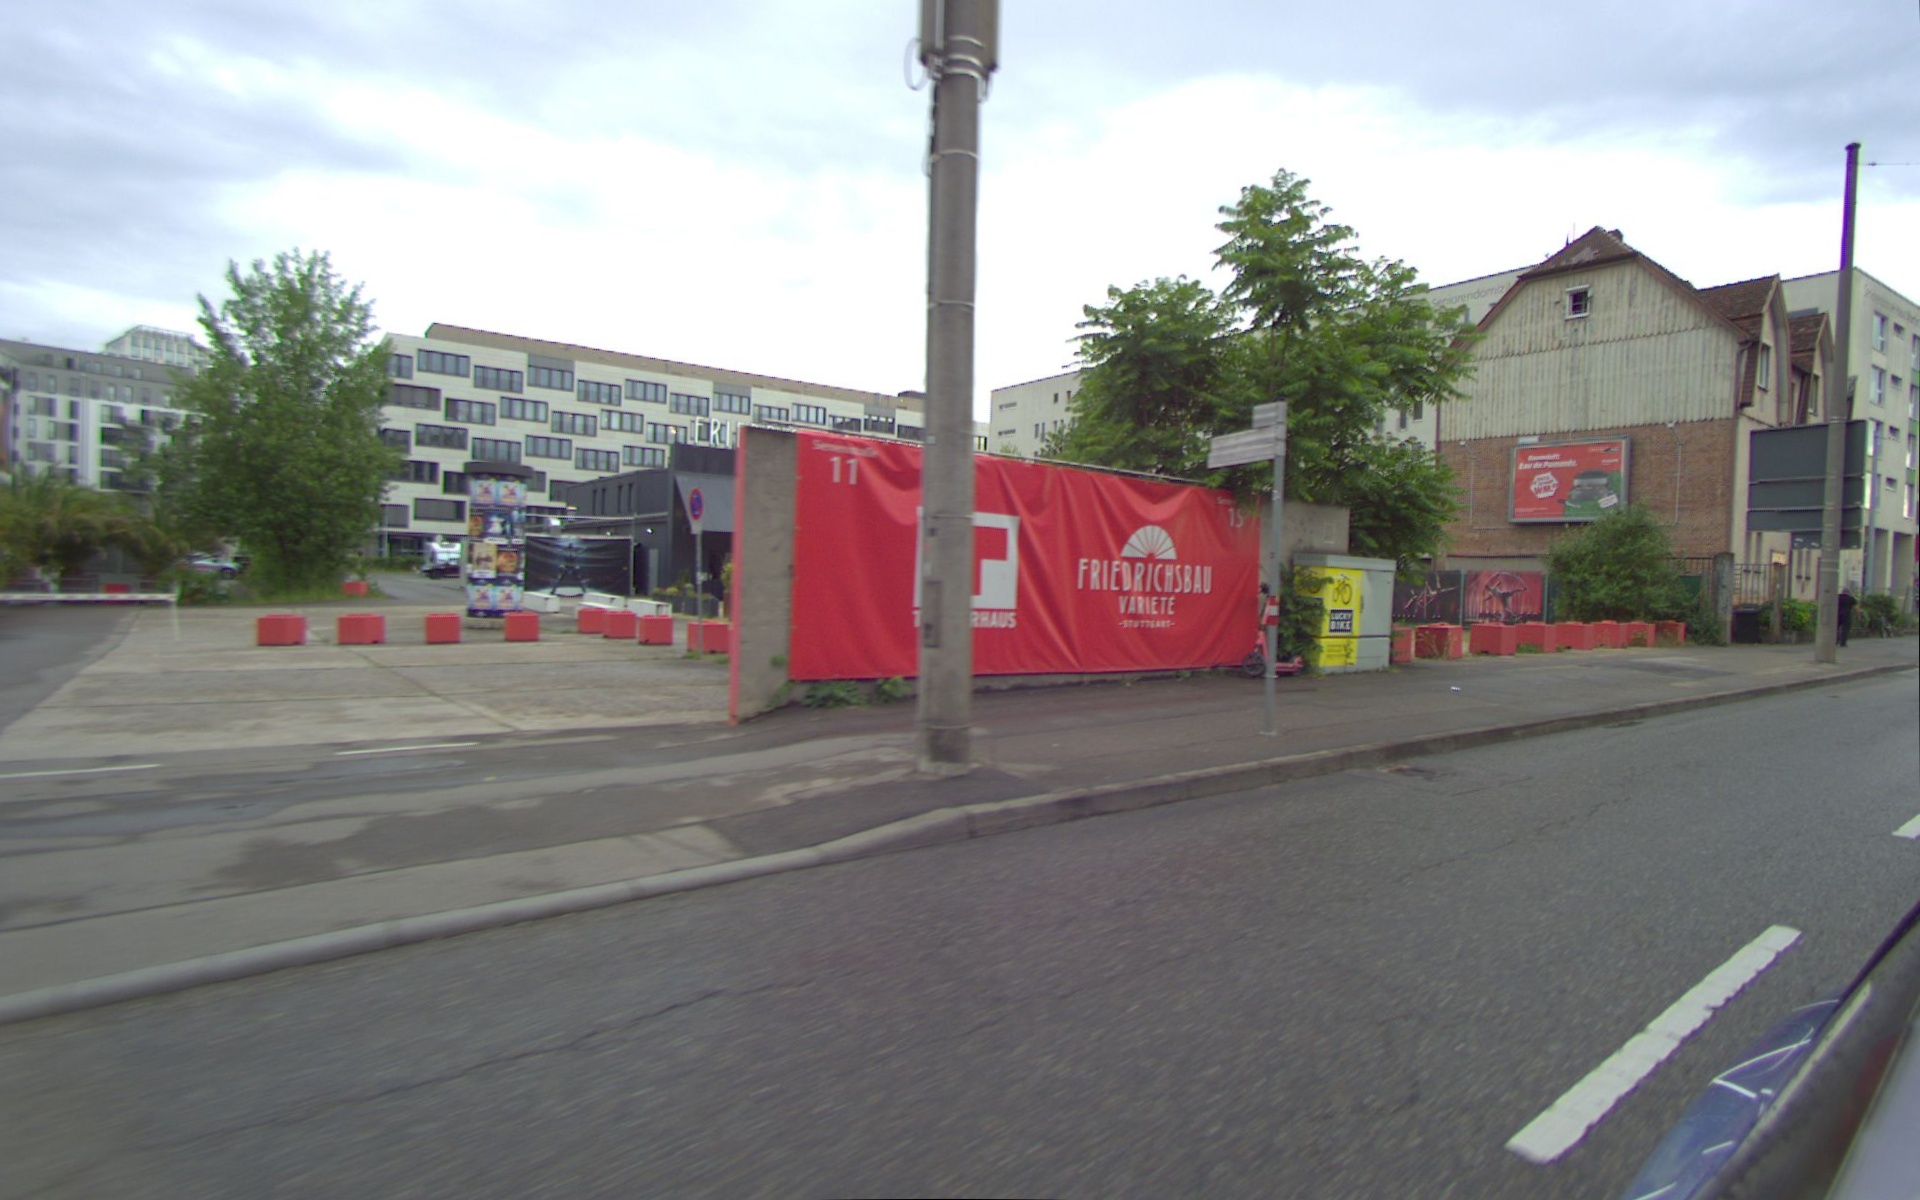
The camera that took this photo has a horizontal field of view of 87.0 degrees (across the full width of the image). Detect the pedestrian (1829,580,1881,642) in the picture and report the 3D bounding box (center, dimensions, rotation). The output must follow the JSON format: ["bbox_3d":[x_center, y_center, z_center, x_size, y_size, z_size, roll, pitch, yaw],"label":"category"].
[{"bbox_3d":[26.650,0.308,30.135,0.895,1.786,0.769,-1,1,-10],"label":"pedestrian"}]
